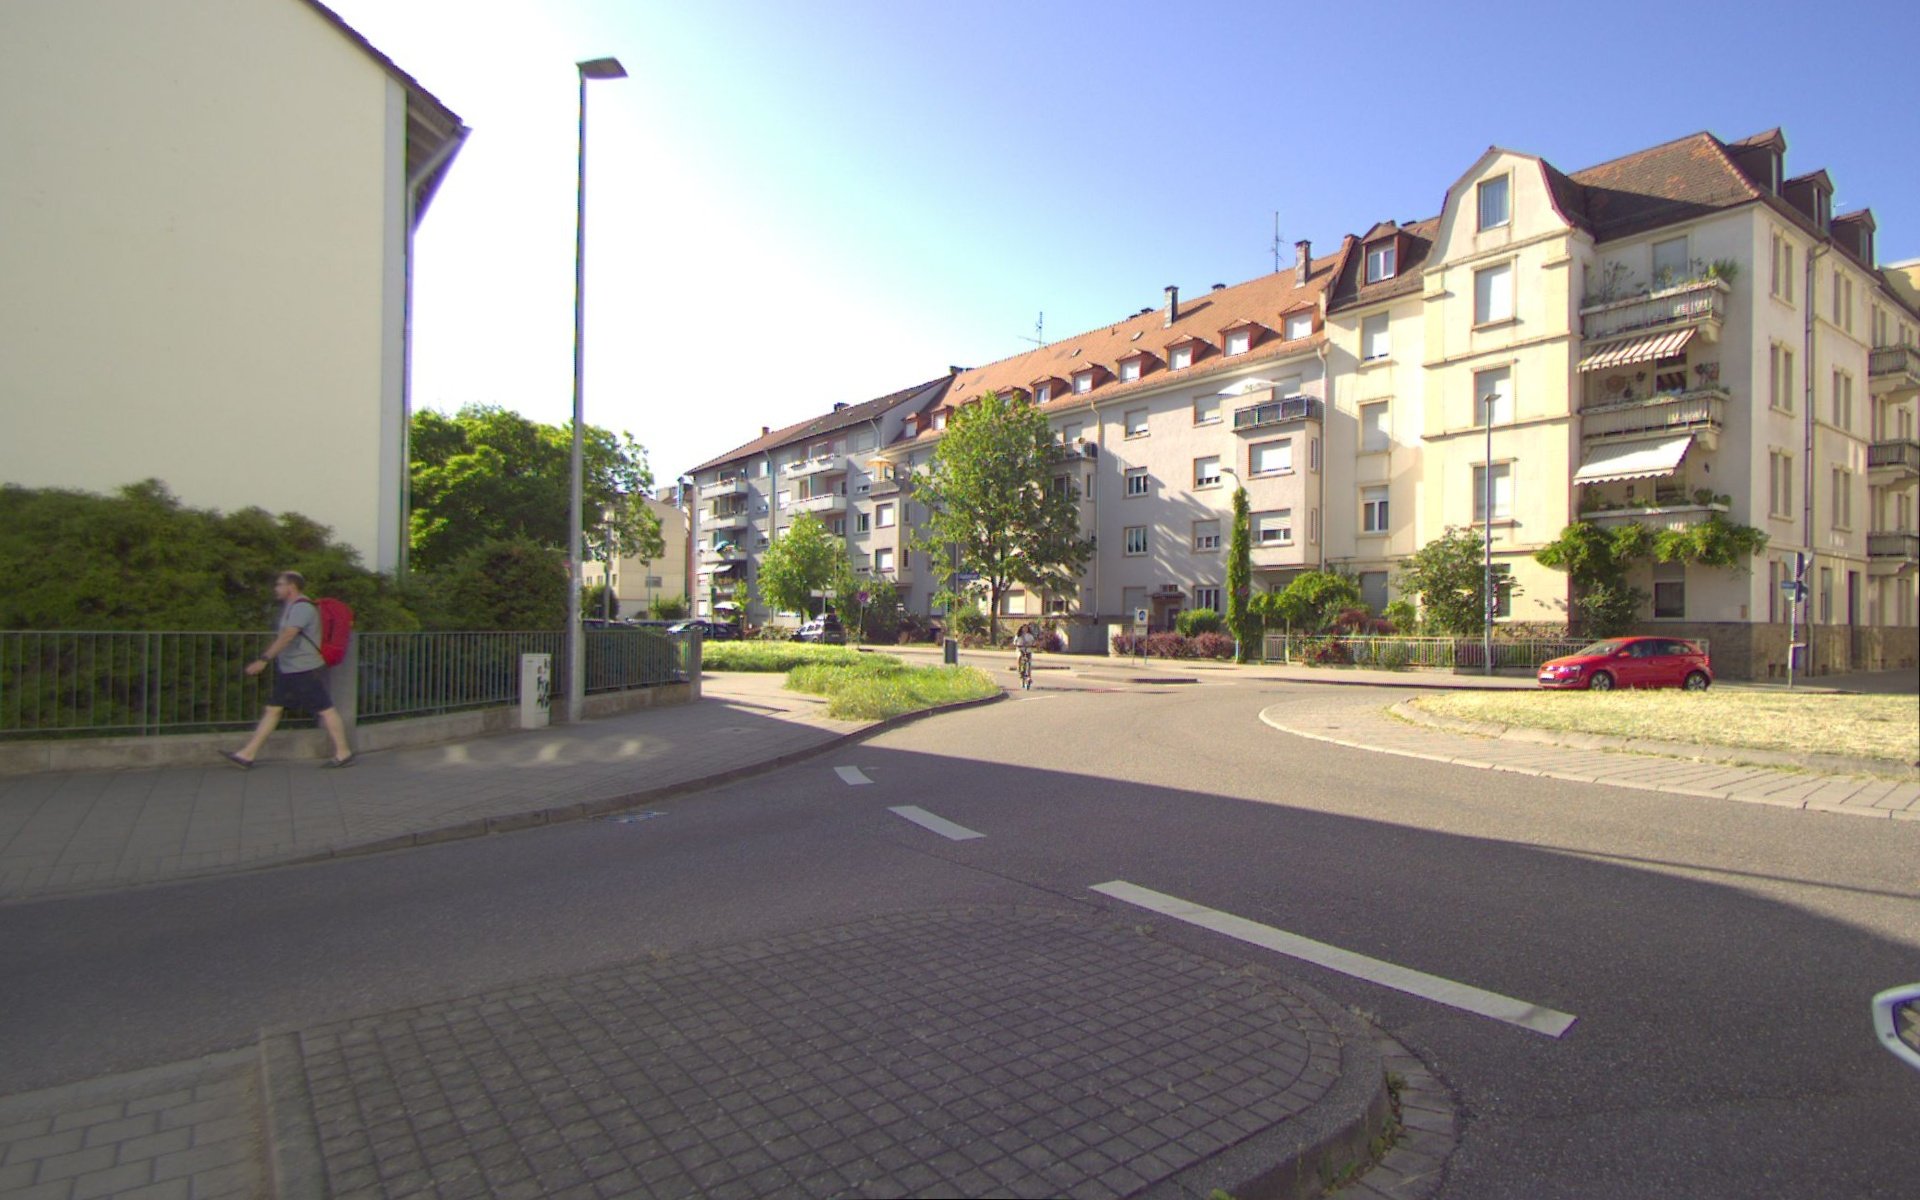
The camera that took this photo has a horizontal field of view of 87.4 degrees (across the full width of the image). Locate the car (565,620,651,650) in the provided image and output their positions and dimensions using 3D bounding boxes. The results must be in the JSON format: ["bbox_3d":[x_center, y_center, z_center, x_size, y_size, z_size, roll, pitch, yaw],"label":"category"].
[{"bbox_3d":[-18.317,1.829,52.354,3.952,1.483,1.985,1,-1,-30],"label":"car"}]

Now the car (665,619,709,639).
[{"bbox_3d":[-19.771,2.113,72.680,1.833,1.398,3.960,1,-2,-35],"label":"car"}]

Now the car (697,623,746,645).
[{"bbox_3d":[-16.066,2.253,67.513,1.833,1.398,3.960,1,-2,-35],"label":"car"}]

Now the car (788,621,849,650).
[{"bbox_3d":[-8.077,1.998,57.229,1.833,1.559,3.960,1,-2,-35],"label":"car"}]

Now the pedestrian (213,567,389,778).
[{"bbox_3d":[-5.804,0.600,8.891,0.803,1.728,0.997,1,0,20],"label":"pedestrian"}]

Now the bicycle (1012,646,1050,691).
[{"bbox_3d":[1.822,1.765,26.147,0.795,1.028,2.210,1,0,0],"label":"bicycle"}]

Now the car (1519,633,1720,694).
[{"bbox_3d":[16.460,1.555,25.195,3.922,1.400,1.717,-1,-2,-2],"label":"car"}]

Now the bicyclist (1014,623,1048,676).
[{"bbox_3d":[1.840,1.285,26.143,0.795,1.329,0.825,1,0,-1],"label":"bicyclist"}]
